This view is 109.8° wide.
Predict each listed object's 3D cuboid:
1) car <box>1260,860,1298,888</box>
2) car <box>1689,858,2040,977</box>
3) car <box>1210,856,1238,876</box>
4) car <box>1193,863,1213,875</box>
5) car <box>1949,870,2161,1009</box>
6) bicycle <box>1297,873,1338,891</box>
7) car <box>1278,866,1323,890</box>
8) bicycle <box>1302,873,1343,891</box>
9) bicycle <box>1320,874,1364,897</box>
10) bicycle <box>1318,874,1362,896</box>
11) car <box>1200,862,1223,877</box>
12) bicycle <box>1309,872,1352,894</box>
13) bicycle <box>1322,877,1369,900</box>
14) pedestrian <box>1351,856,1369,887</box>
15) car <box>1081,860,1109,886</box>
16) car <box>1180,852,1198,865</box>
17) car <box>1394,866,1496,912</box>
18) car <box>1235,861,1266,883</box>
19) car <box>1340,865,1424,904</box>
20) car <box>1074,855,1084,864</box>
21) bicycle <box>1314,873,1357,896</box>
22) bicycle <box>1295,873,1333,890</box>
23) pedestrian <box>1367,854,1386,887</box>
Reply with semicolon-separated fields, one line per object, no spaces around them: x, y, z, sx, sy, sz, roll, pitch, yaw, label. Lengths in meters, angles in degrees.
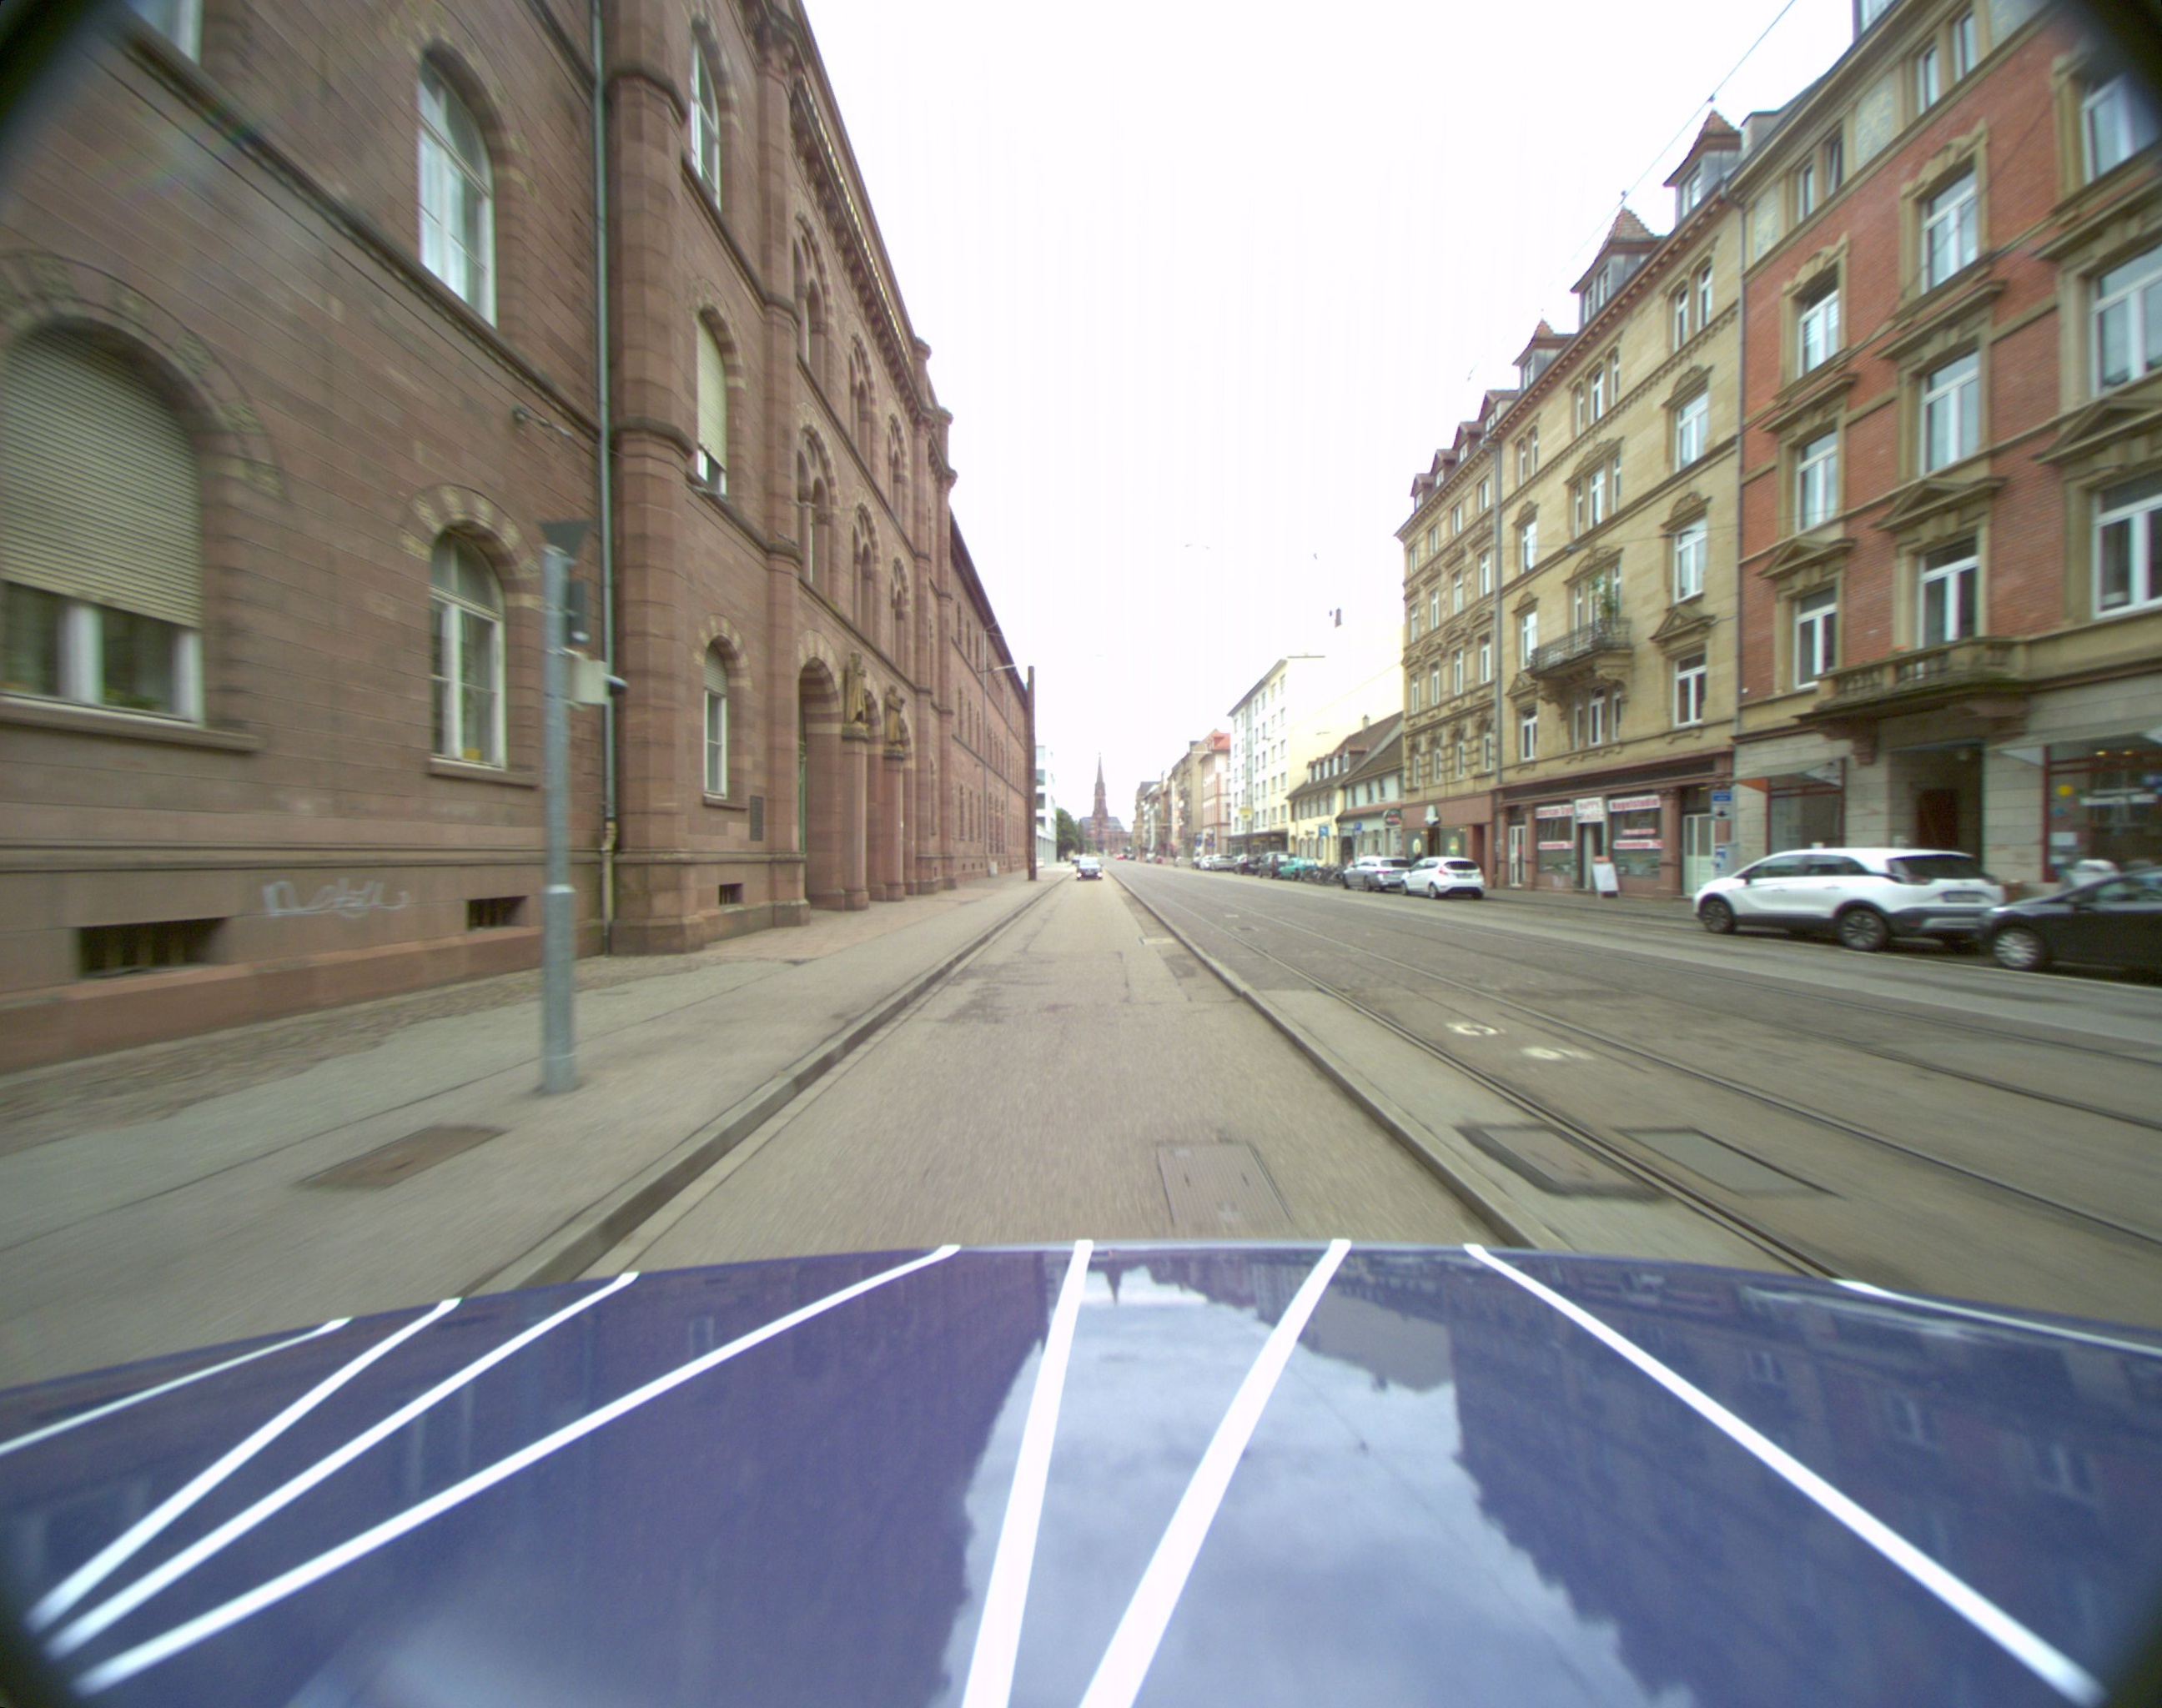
13.412;1.323;51.774;1.706;1.747;3.920;1;0;3;car
12.772;0.913;12.838;1.748;1.662;4.046;1;0;1;car
13.607;1.131;72.625;1.928;1.722;3.826;-1;0;1;car
13.809;1.693;86.024;1.733;1.335;3.246;-1;0;1;car
12.608;0.956;8.326;1.748;1.479;3.921;1;0;2;car
13.264;1.566;42.584;2.126;0.928;0.557;-1;1;-1;bicycle
13.482;1.476;46.754;1.651;1.372;3.436;1;-1;-2;car
13.322;1.555;41.917;2.044;0.928;0.557;-1;1;3;bicycle
13.186;1.576;38.420;2.044;1.091;0.557;-1;1;2;bicycle
13.279;1.595;39.008;2.044;1.091;0.557;-1;1;2;bicycle
13.628;1.608;79.306;1.733;1.443;3.826;-1;0;1;car
13.202;1.543;40.241;2.044;1.091;0.557;-1;1;2;bicycle
13.102;1.705;37.662;2.139;1.091;0.557;-1;1;2;bicycle
14.904;0.930;40.566;0.657;1.607;0.728;-1;1;0;pedestrian
0.885;1.218;49.374;1.747;1.538;3.650;-1;0;0;car
14.246;0.601;100.608;1.867;1.553;4.000;1;0;1;car
13.020;1.212;27.460;1.748;1.456;4.046;1;0;1;car
13.717;1.428;61.660;1.704;1.662;4.181;-1;0;2;car
12.598;1.232;32.099;1.828;1.512;4.546;1;-1;1;car
-0.350;1.054;142.914;1.835;1.652;4.000;-1;0;1;car
13.260;1.589;39.654;2.044;1.091;0.557;-1;1;2;bicycle
13.542;1.604;44.129;2.044;0.928;0.557;-1;1;-1;bicycle
15.669;0.869;40.297;0.657;1.702;0.754;-1;1;1;pedestrian
